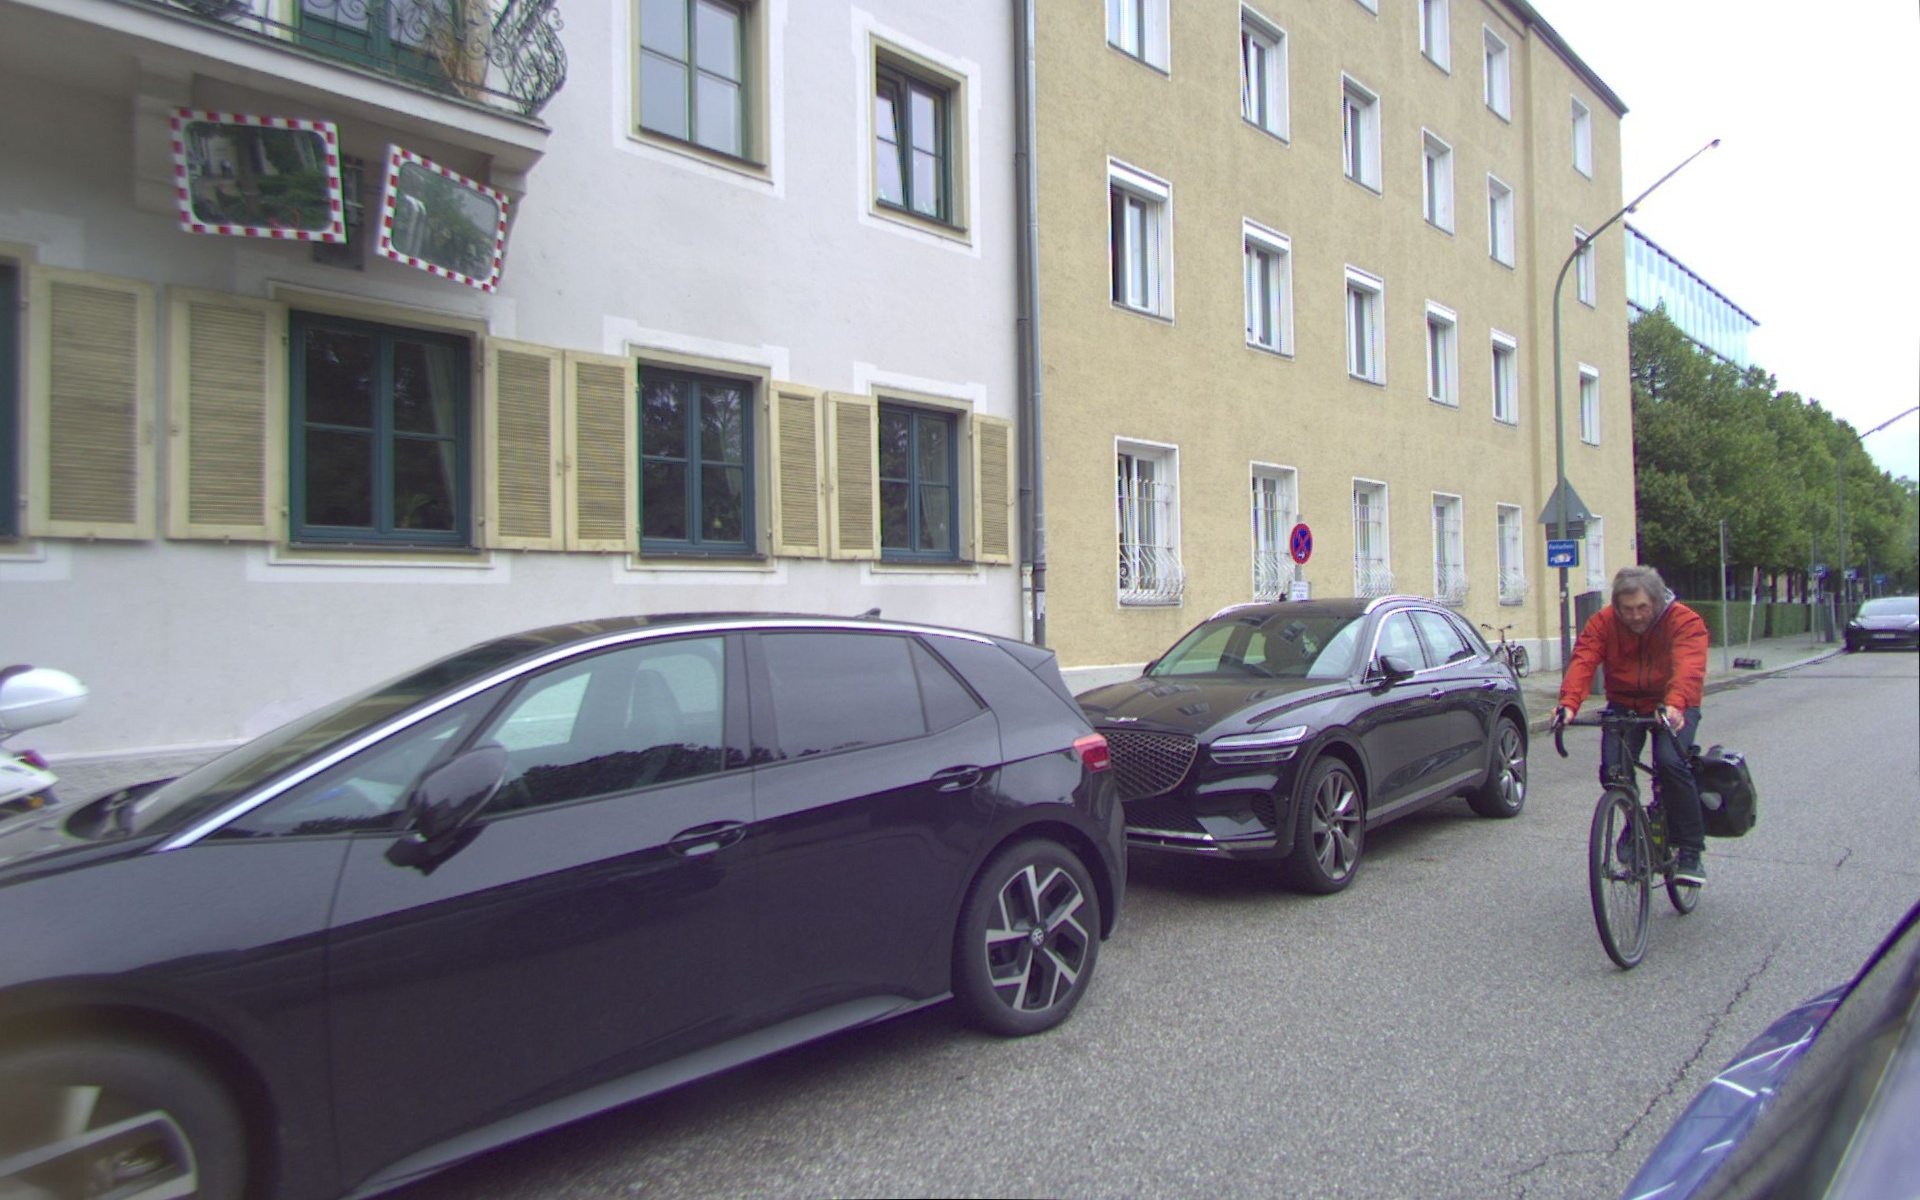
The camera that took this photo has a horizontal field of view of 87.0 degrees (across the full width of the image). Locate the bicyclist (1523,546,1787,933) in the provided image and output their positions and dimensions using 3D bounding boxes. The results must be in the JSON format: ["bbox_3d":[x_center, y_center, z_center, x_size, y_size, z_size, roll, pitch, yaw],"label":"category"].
[{"bbox_3d":[3.137,0.554,4.558,0.754,1.502,0.966,-4,-3,44],"label":"bicyclist"}]

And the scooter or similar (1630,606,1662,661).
[{"bbox_3d":[16.673,0.796,24.590,1.287,1.271,0.342,-1,0,-42],"label":"scooter or similar"}]

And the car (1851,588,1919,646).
[{"bbox_3d":[29.372,0.486,31.235,5.009,1.652,1.997,-1,-3,-40],"label":"car"}]

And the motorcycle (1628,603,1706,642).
[{"bbox_3d":[22.270,0.679,31.889,0.696,1.147,1.898,0,1,-40],"label":"motorcycle"}]

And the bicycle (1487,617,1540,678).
[{"bbox_3d":[10.864,0.901,19.827,1.783,1.095,0.342,-1,1,-42],"label":"bicycle"}]

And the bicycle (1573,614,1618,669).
[{"bbox_3d":[13.896,0.883,22.117,1.729,1.150,0.342,0,-1,-42],"label":"bicycle"}]

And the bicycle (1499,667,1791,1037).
[{"bbox_3d":[3.075,0.929,4.445,0.672,1.156,1.979,-4,-3,44],"label":"bicycle"}]

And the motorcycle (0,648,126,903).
[{"bbox_3d":[-5.433,0.912,5.021,1.973,1.255,0.733,-1,-3,-42],"label":"motorcycle"}]

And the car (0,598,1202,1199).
[{"bbox_3d":[-1.259,0.788,3.483,4.337,1.551,1.842,0,0,-40],"label":"car"}]

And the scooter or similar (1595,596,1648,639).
[{"bbox_3d":[21.559,0.564,33.005,0.659,1.318,1.348,-3,3,-45],"label":"scooter or similar"}]

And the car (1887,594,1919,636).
[{"bbox_3d":[36.139,0.489,37.736,4.875,1.479,1.994,0,-3,-44],"label":"car"}]

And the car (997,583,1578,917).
[{"bbox_3d":[2.606,0.711,7.188,4.818,1.597,1.861,0,0,-44],"label":"car"}]
